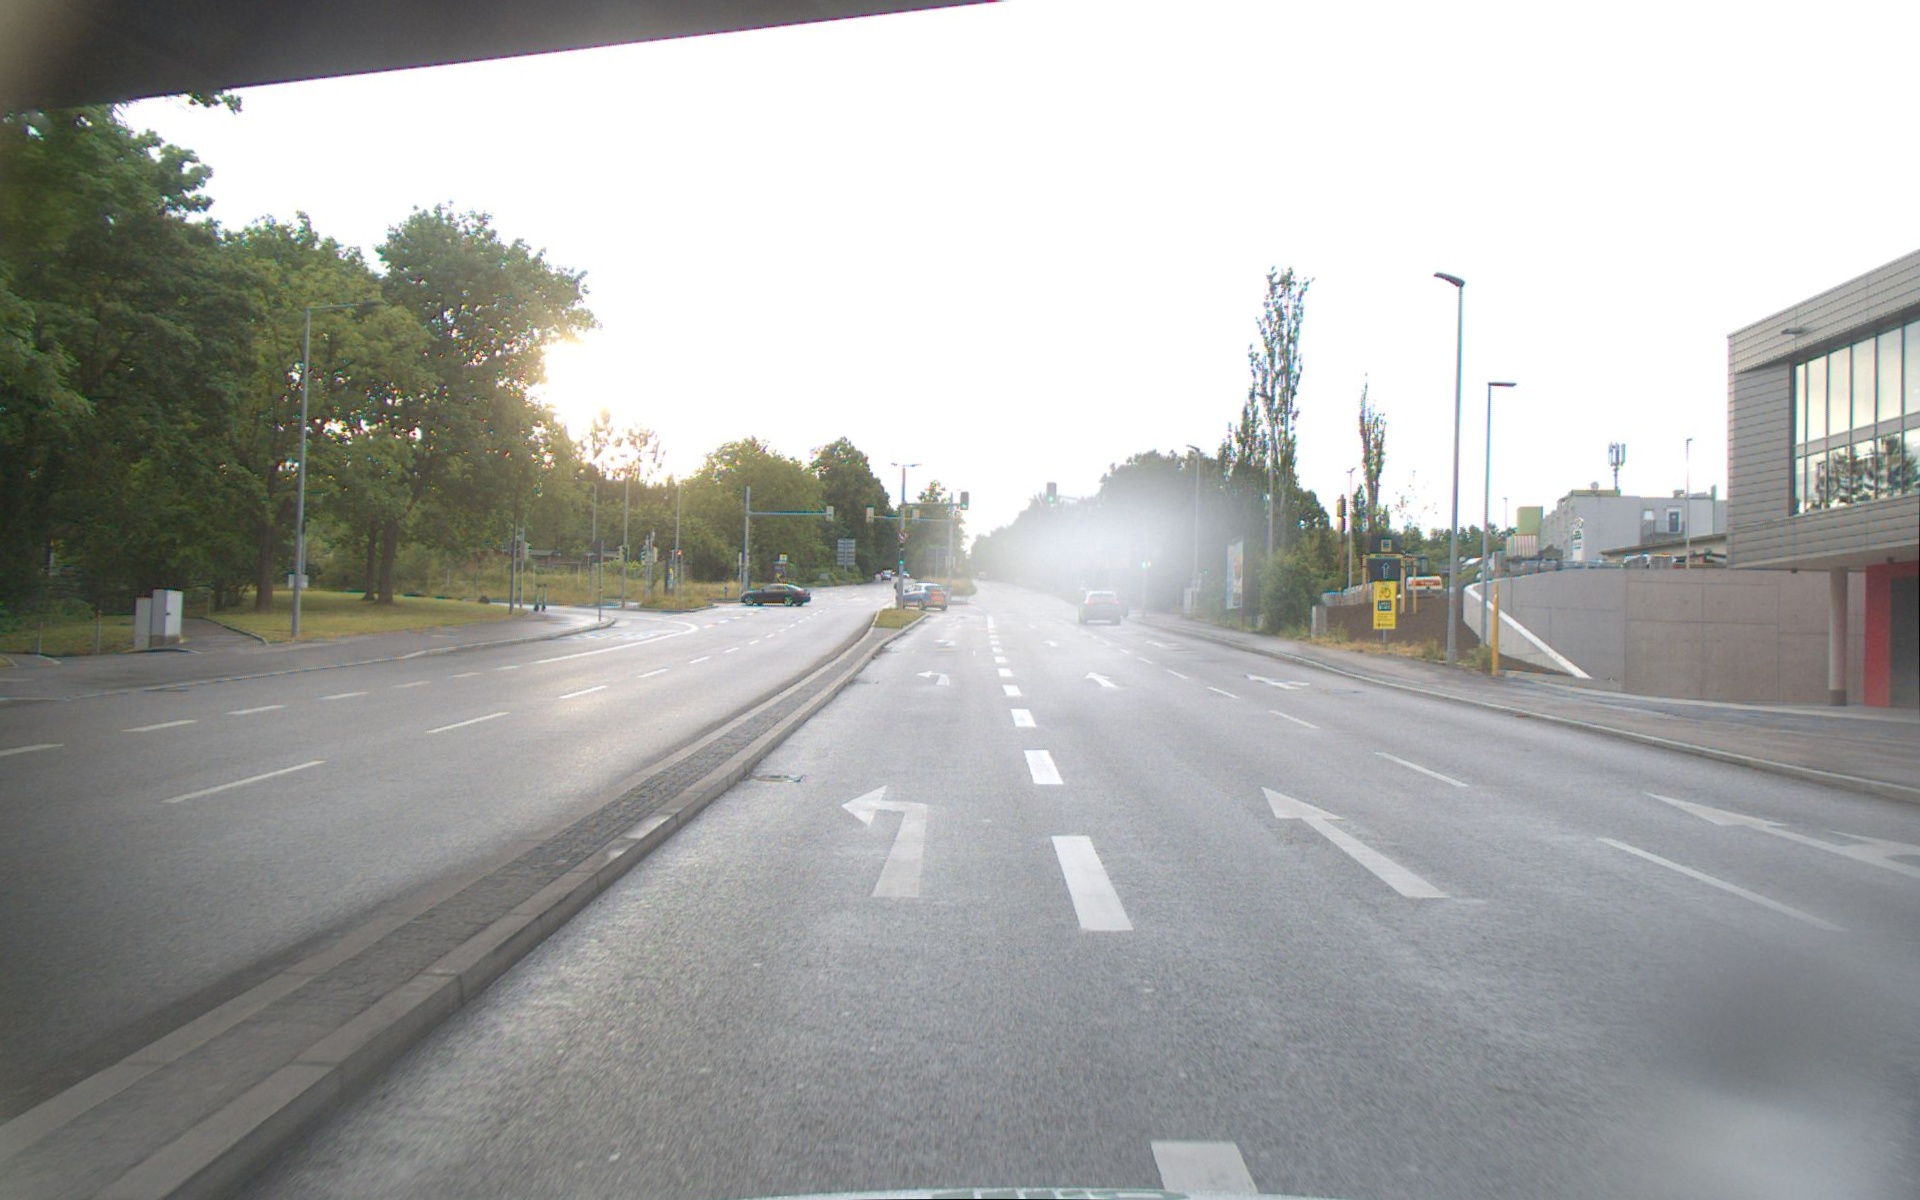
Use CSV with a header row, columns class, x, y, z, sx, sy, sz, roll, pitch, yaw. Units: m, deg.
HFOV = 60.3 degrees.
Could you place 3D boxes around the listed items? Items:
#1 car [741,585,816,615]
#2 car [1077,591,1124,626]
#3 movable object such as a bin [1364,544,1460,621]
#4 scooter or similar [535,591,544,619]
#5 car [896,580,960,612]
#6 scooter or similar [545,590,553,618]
class,x,y,z,sx,sy,sz,roll,pitch,yaw
car,-11.394,0.004,104.304,4.558,1.610,2.171,3,-1,-5
car,6.382,0.373,75.498,1.709,1.495,4.166,2,1,0
movable object such as a bin,20.471,-0.816,75.208,2.258,3.333,5.416,2,1,-7
scooter or similar,-19.083,0.203,75.068,0.306,1.239,1.303,1,1,-13
car,-1.920,-0.260,97.744,2.052,1.748,4.160,4,-1,-27
scooter or similar,-19.086,0.177,76.732,0.306,1.239,1.303,1,1,-13
